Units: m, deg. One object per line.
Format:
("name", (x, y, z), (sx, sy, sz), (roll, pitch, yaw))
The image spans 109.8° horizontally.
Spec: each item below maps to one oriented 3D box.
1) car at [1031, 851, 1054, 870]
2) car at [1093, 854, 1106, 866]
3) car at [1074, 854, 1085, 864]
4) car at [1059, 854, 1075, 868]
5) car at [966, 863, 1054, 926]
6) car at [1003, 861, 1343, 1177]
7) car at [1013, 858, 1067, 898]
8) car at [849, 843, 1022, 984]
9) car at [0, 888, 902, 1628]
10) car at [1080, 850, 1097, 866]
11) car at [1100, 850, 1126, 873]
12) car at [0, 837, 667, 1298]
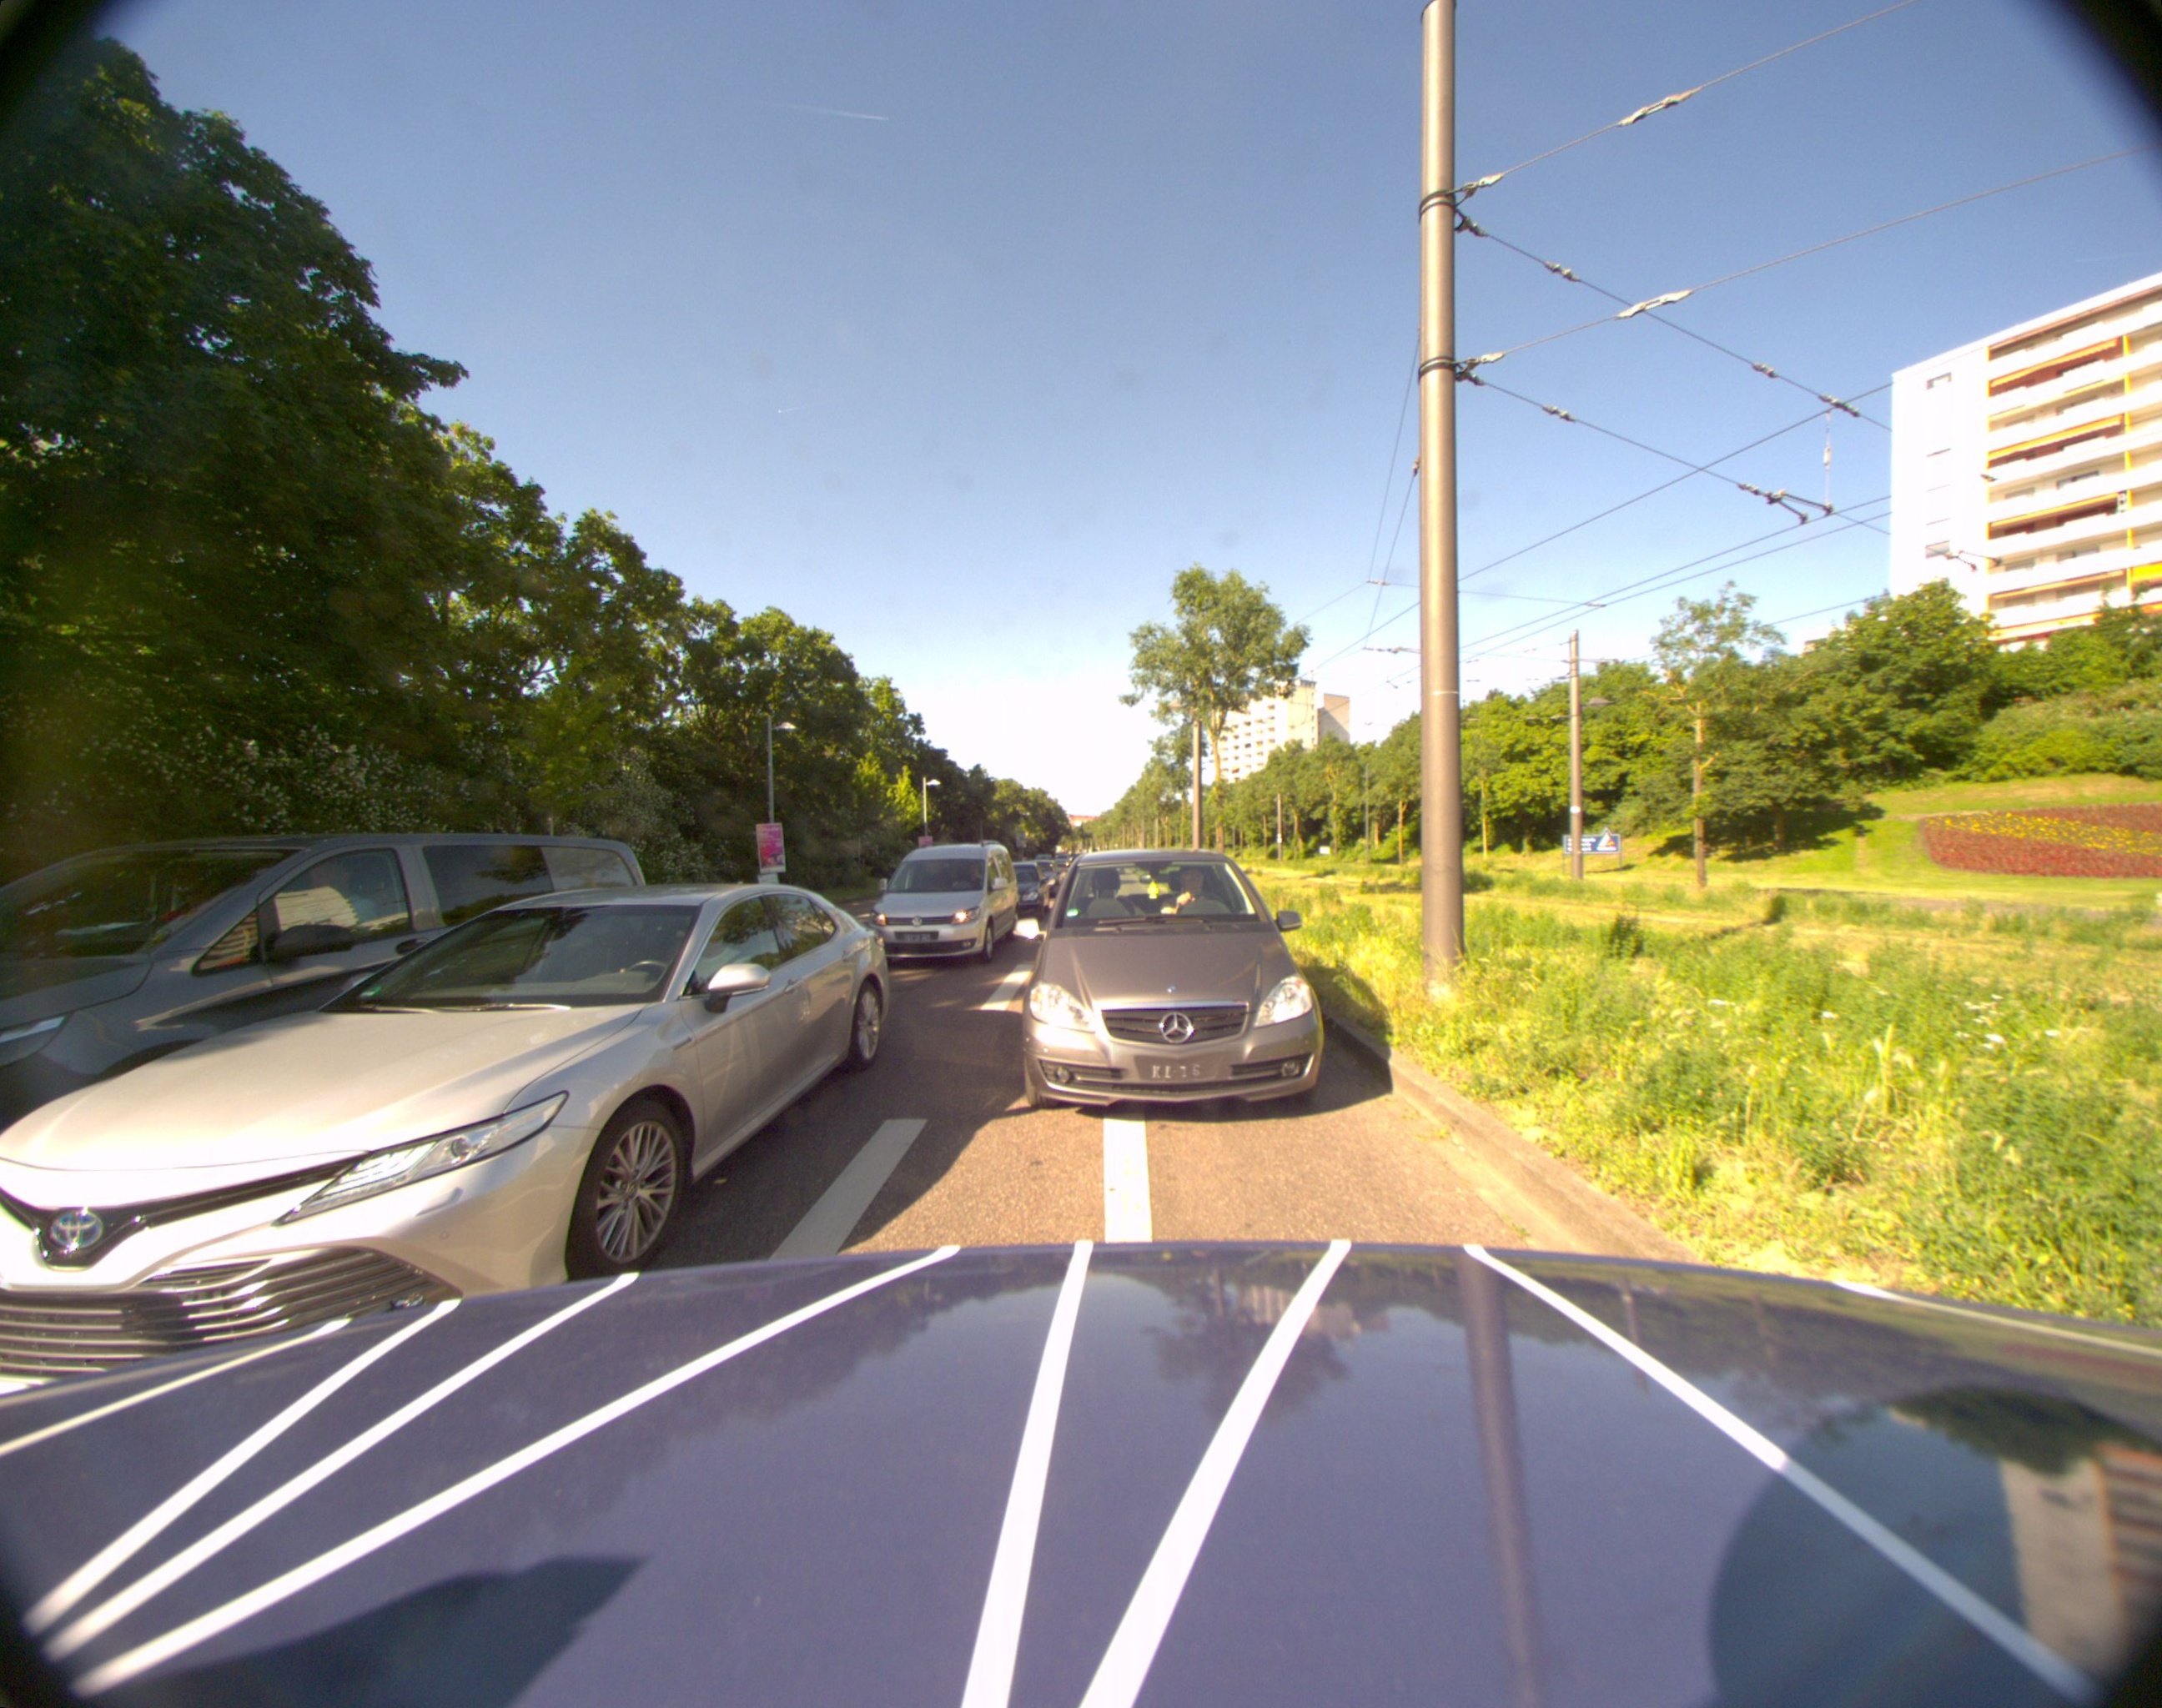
("car", (-3.435, 0.556, 67.971), (1.777, 1.597, 4.384), (-1, 0, 1))
("car", (2.622, 0.825, 108.507), (1.777, 1.597, 4.384), (-1, 0, 1))
("car", (-0.187, 0.853, 129.260), (1.777, 1.597, 4.300), (-1, 0, 1))
("car", (-1.649, 0.844, 90.493), (1.777, 1.597, 4.384), (-1, 0, 1))
("car", (-1.722, 0.967, 19.717), (1.776, 1.395, 4.067), (-1, 0, 2))
("car", (0.516, 0.895, 6.208), (1.777, 1.597, 4.384), (-1, 0, 1))
("car", (-1.536, 0.900, 29.861), (1.776, 1.395, 4.067), (-1, 0, 2))
("car", (-2.152, 0.794, 12.622), (1.822, 1.893, 4.622), (-1, 0, 2))
("car", (-2.644, 1.045, 4.124), (2.069, 1.451, 4.749), (-1, 0, 2))
("car", (0.824, 0.428, 80.780), (1.777, 1.597, 4.384), (-1, 0, 1))
("car", (2.330, 0.501, 55.983), (1.777, 1.597, 4.384), (-1, 0, 1))
("car", (-5.360, 0.874, 5.281), (1.998, 1.882, 5.148), (-1, 0, 1))
